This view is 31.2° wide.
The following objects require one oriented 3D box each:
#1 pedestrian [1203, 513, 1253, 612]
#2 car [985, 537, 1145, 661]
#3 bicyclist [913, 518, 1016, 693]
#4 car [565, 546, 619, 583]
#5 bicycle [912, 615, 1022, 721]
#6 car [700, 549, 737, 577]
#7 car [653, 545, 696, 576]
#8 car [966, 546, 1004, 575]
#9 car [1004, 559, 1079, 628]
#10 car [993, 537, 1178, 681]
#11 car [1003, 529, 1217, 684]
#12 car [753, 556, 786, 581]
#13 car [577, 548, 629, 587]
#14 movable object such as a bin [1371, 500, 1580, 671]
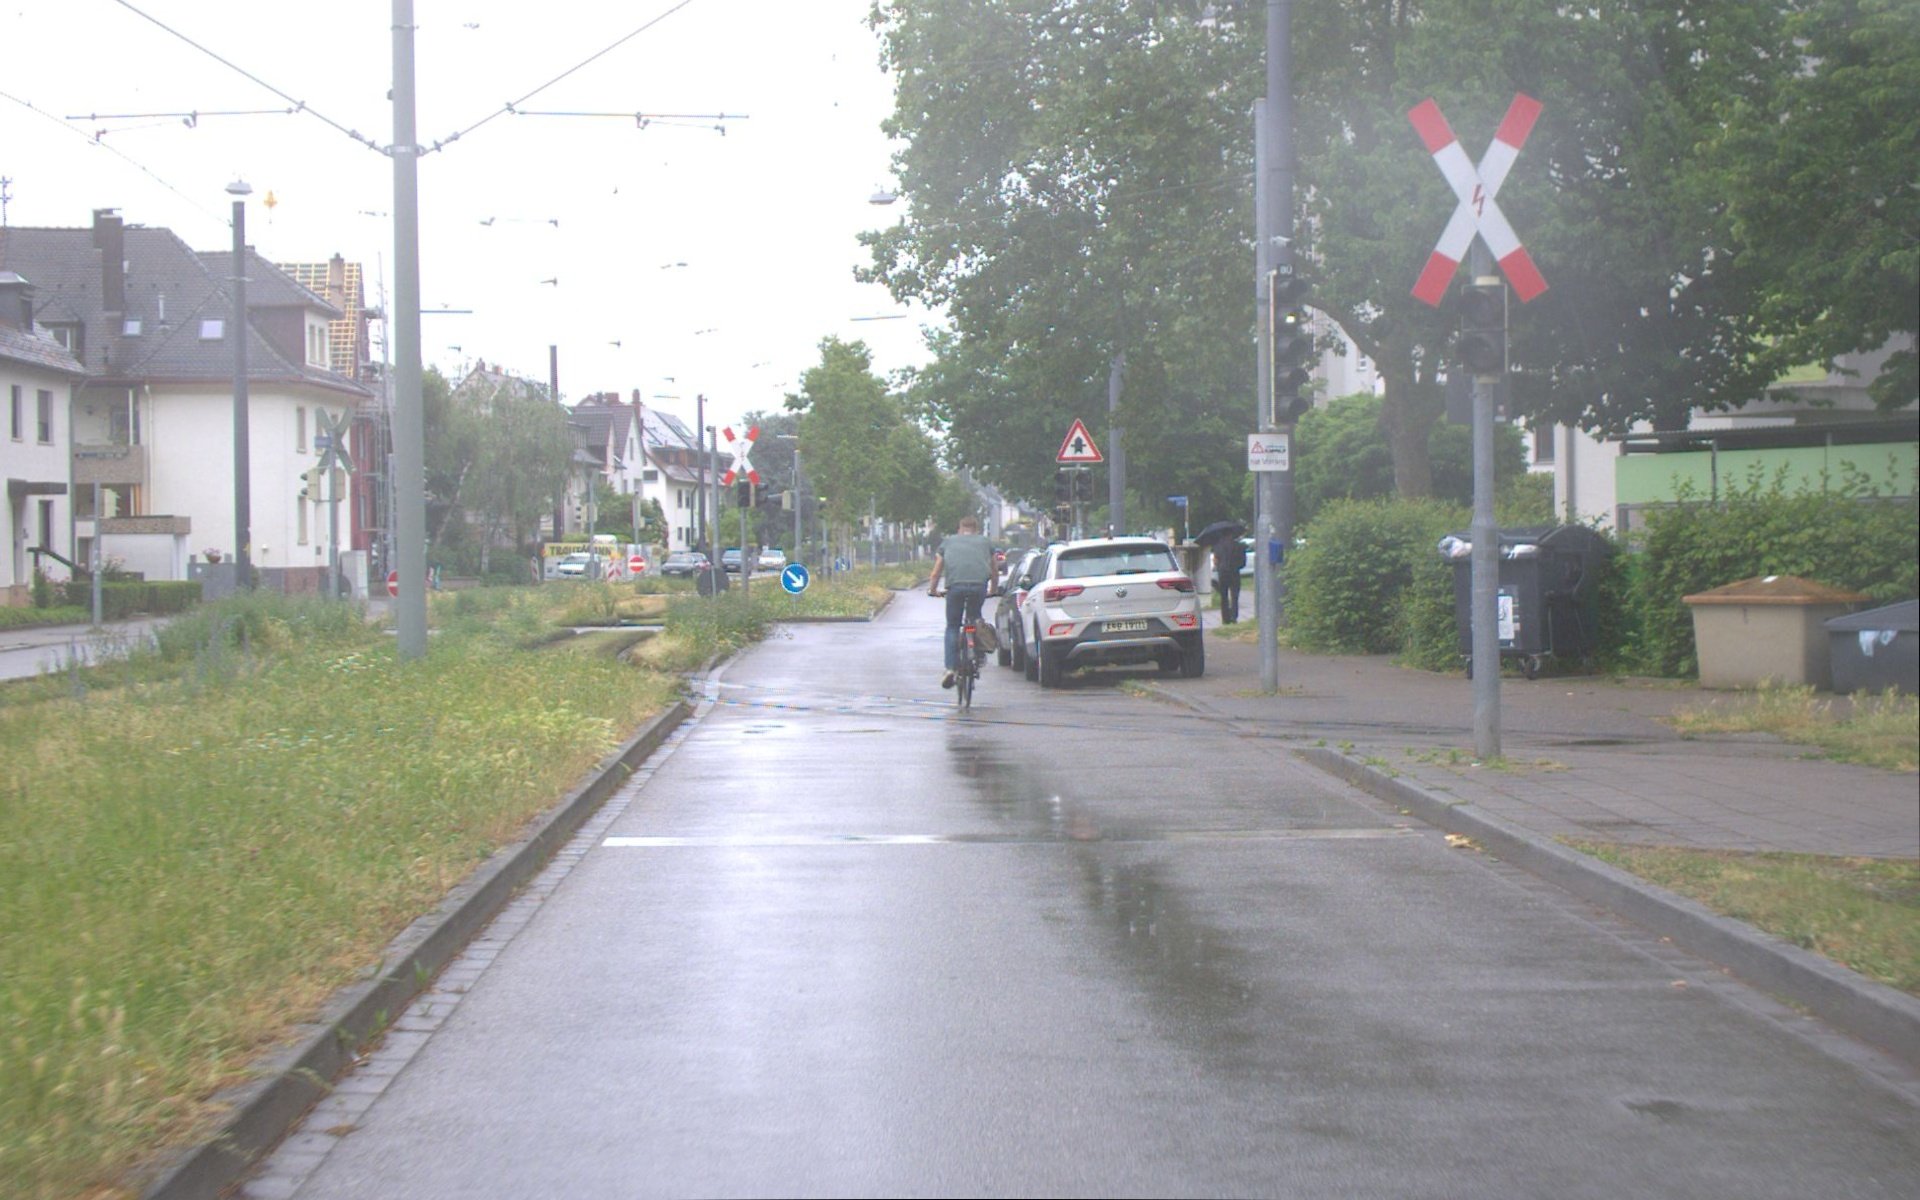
[{"bbox_3d":[4.757,-0.659,61.023,0.747,1.710,0.750,-2,0,-1],"label":"pedestrian"},{"bbox_3d":[1.480,-0.017,49.803,1.941,1.646,4.000,-2,0,-3],"label":"car"},{"bbox_3d":[0.033,0.052,31.326,0.831,1.553,0.914,-1,0,-4],"label":"bicyclist"},{"bbox_3d":[-16.421,-1.569,153.725,1.993,1.539,4.000,-1,-1,0],"label":"car"},{"bbox_3d":[0.049,0.601,31.286,0.821,0.909,1.986,-1,0,-4],"label":"bicycle"},{"bbox_3d":[-14.750,-2.252,210.504,1.993,1.539,4.000,-1,-1,0],"label":"car"},{"bbox_3d":[-15.317,-2.109,184.723,1.993,1.539,4.000,-1,-1,0],"label":"car"},{"bbox_3d":[1.394,-2.255,195.047,1.993,1.487,4.000,-1,-1,-1],"label":"car"},{"bbox_3d":[2.499,-0.205,106.201,1.941,2.006,4.000,-2,0,-3],"label":"car"},{"bbox_3d":[1.531,0.105,43.425,1.941,1.646,4.000,-2,0,-3],"label":"car"},{"bbox_3d":[1.598,0.064,38.133,1.954,1.548,4.000,-2,0,-3],"label":"car"},{"bbox_3d":[-12.897,-2.122,232.561,1.993,1.539,4.000,-1,-1,0],"label":"car"},{"bbox_3d":[-16.551,-1.500,159.411,1.993,1.699,4.000,-1,-1,0],"label":"car"},{"bbox_3d":[5.341,-0.155,35.684,1.549,1.698,1.501,-2,1,-25],"label":"movable object such as a bin"}]
